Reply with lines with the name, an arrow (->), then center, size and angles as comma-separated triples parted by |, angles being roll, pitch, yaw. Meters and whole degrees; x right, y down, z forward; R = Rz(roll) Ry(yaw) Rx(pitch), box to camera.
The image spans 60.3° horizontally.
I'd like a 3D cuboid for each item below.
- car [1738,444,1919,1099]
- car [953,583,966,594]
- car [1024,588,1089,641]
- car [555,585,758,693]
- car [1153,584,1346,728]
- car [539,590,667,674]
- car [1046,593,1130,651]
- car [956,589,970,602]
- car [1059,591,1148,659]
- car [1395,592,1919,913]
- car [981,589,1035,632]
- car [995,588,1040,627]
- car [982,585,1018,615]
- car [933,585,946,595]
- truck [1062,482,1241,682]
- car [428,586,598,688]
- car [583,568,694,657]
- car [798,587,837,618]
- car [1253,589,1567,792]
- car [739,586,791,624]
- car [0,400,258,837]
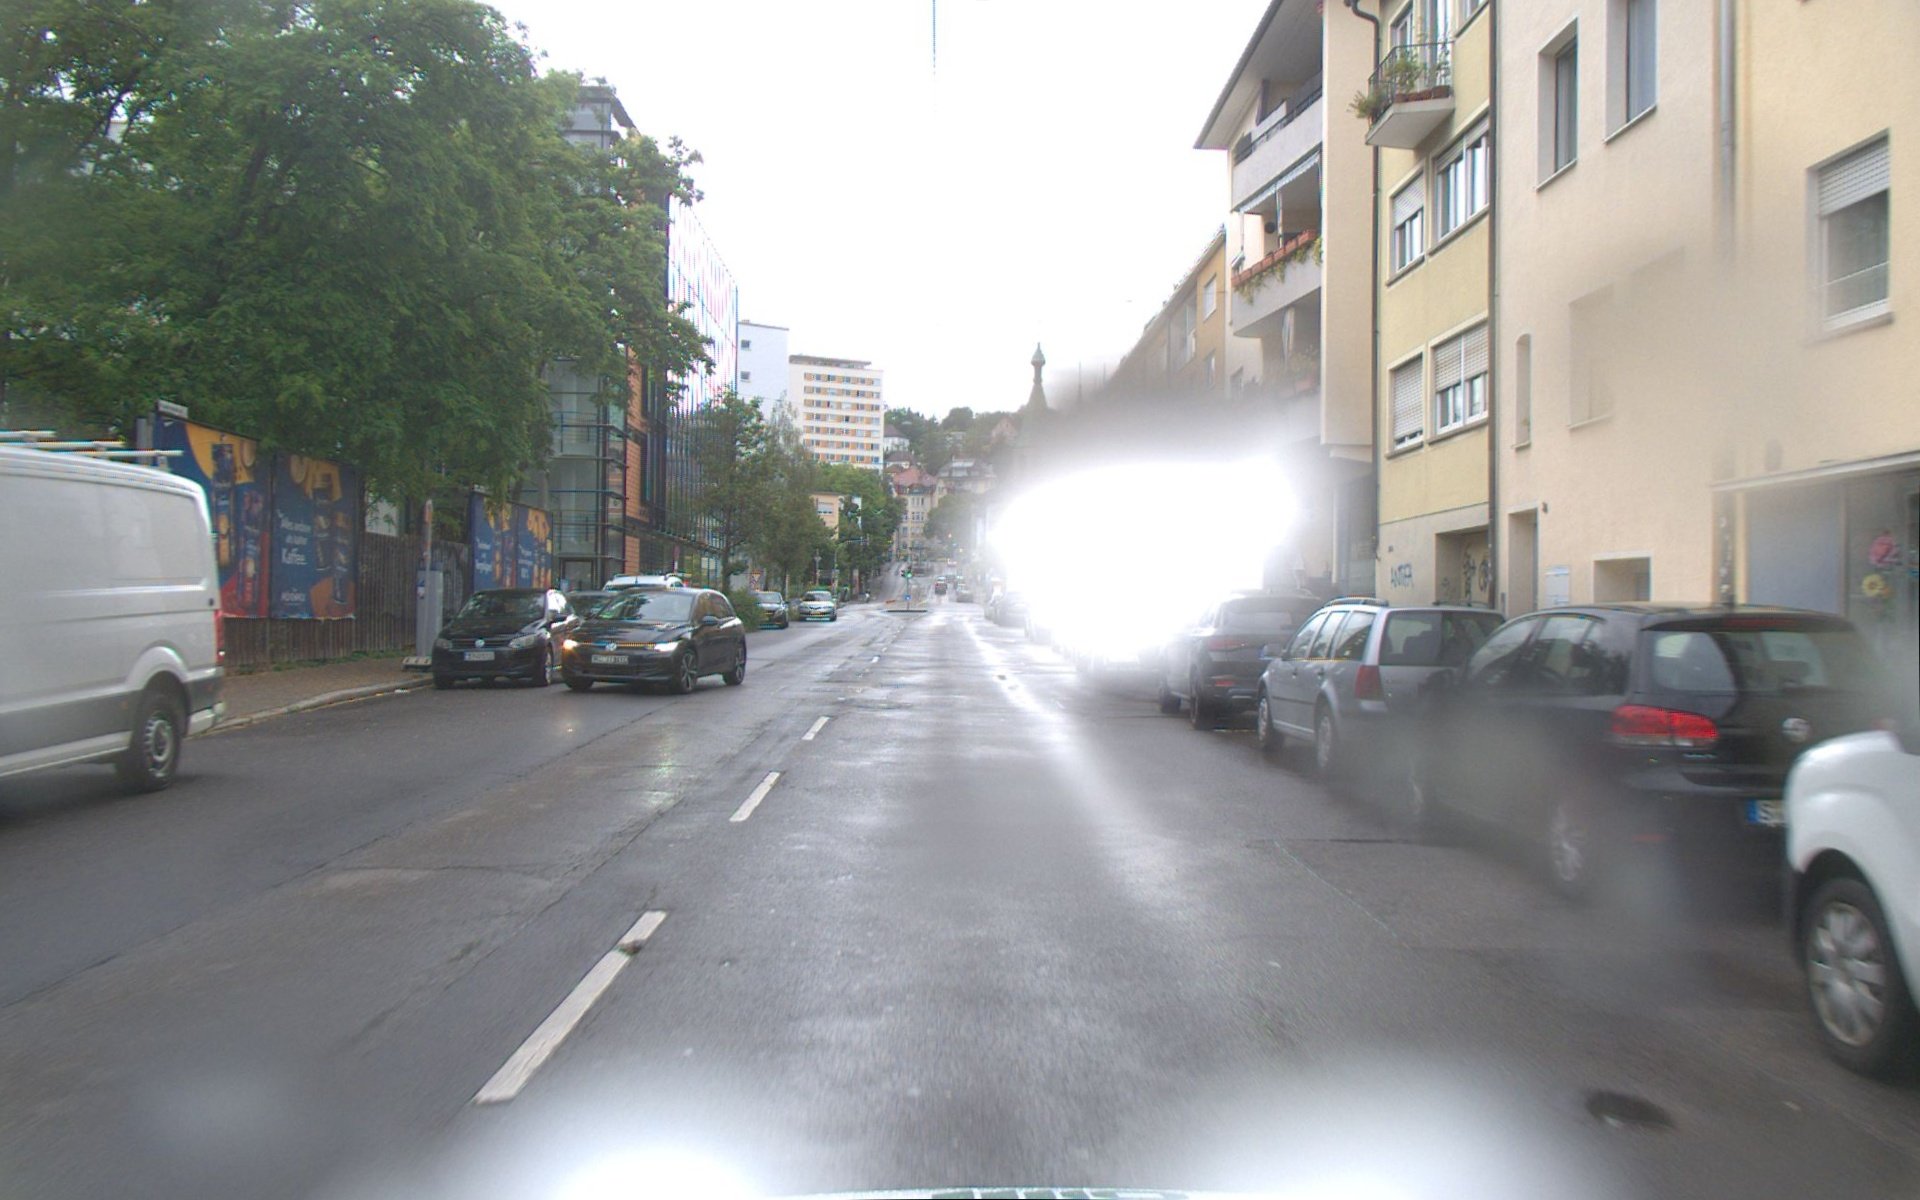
car -> 3.754, 0.534, 4.000 | 1.780, 1.957, 4.239 | 1, 1, 1
car -> -0.139, -1.694, 247.306 | 1.854, 1.536, 3.999 | 2, 0, -1
car -> 2.902, 0.415, 50.453 | 1.630, 1.528, 3.920 | 0, 0, -2
car -> -4.346, 0.507, 24.376 | 1.767, 1.440, 4.387 | 0, 0, 6
car -> 3.494, 0.610, 20.661 | 1.629, 1.600, 4.097 | 0, 1, -1
car -> -6.785, 0.576, 31.837 | 1.648, 1.488, 4.275 | -1, 0, -2
car -> 3.298, 0.571, 43.211 | 1.630, 1.446, 3.918 | 0, -1, -4
car -> 0.387, -0.618, 210.800 | 1.696, 1.682, 4.001 | 0, 0, 2
car -> 3.250, 0.544, 38.132 | 1.629, 1.445, 4.042 | 0, 1, -1
car -> 3.798, 0.719, 9.625 | 1.545, 1.496, 3.501 | 1, 1, -1
car -> 1.643, 0.354, 57.509 | 1.630, 1.424, 3.920 | 0, 0, -2
car -> 2.612, 0.312, 76.040 | 1.781, 1.681, 4.075 | 2, 0, -1
car -> 2.235, -0.019, 93.402 | 1.781, 1.549, 4.075 | 2, 0, -1
car -> -3.134, -1.545, 249.638 | 1.869, 1.536, 3.999 | 1, 1, -1
truck -> 3.324, -0.309, 30.362 | 2.419, 3.227, 7.035 | 0, 0, 0
car -> -6.752, 0.522, 25.352 | 1.648, 1.423, 3.909 | -1, 0, -2
car -> -7.044, 0.255, 36.587 | 1.689, 1.831, 4.343 | -1, 0, -2
car -> -7.003, 0.111, 81.380 | 1.675, 1.476, 4.293 | 0, 0, -2
car -> 3.837, 0.686, 14.801 | 1.629, 1.526, 4.097 | 0, 1, -1
car -> -7.767, 0.196, 66.106 | 1.767, 1.476, 4.655 | 0, 0, -3
car -> -6.549, 0.108, 10.093 | 1.970, 2.530, 5.983 | -1, 1, 0
